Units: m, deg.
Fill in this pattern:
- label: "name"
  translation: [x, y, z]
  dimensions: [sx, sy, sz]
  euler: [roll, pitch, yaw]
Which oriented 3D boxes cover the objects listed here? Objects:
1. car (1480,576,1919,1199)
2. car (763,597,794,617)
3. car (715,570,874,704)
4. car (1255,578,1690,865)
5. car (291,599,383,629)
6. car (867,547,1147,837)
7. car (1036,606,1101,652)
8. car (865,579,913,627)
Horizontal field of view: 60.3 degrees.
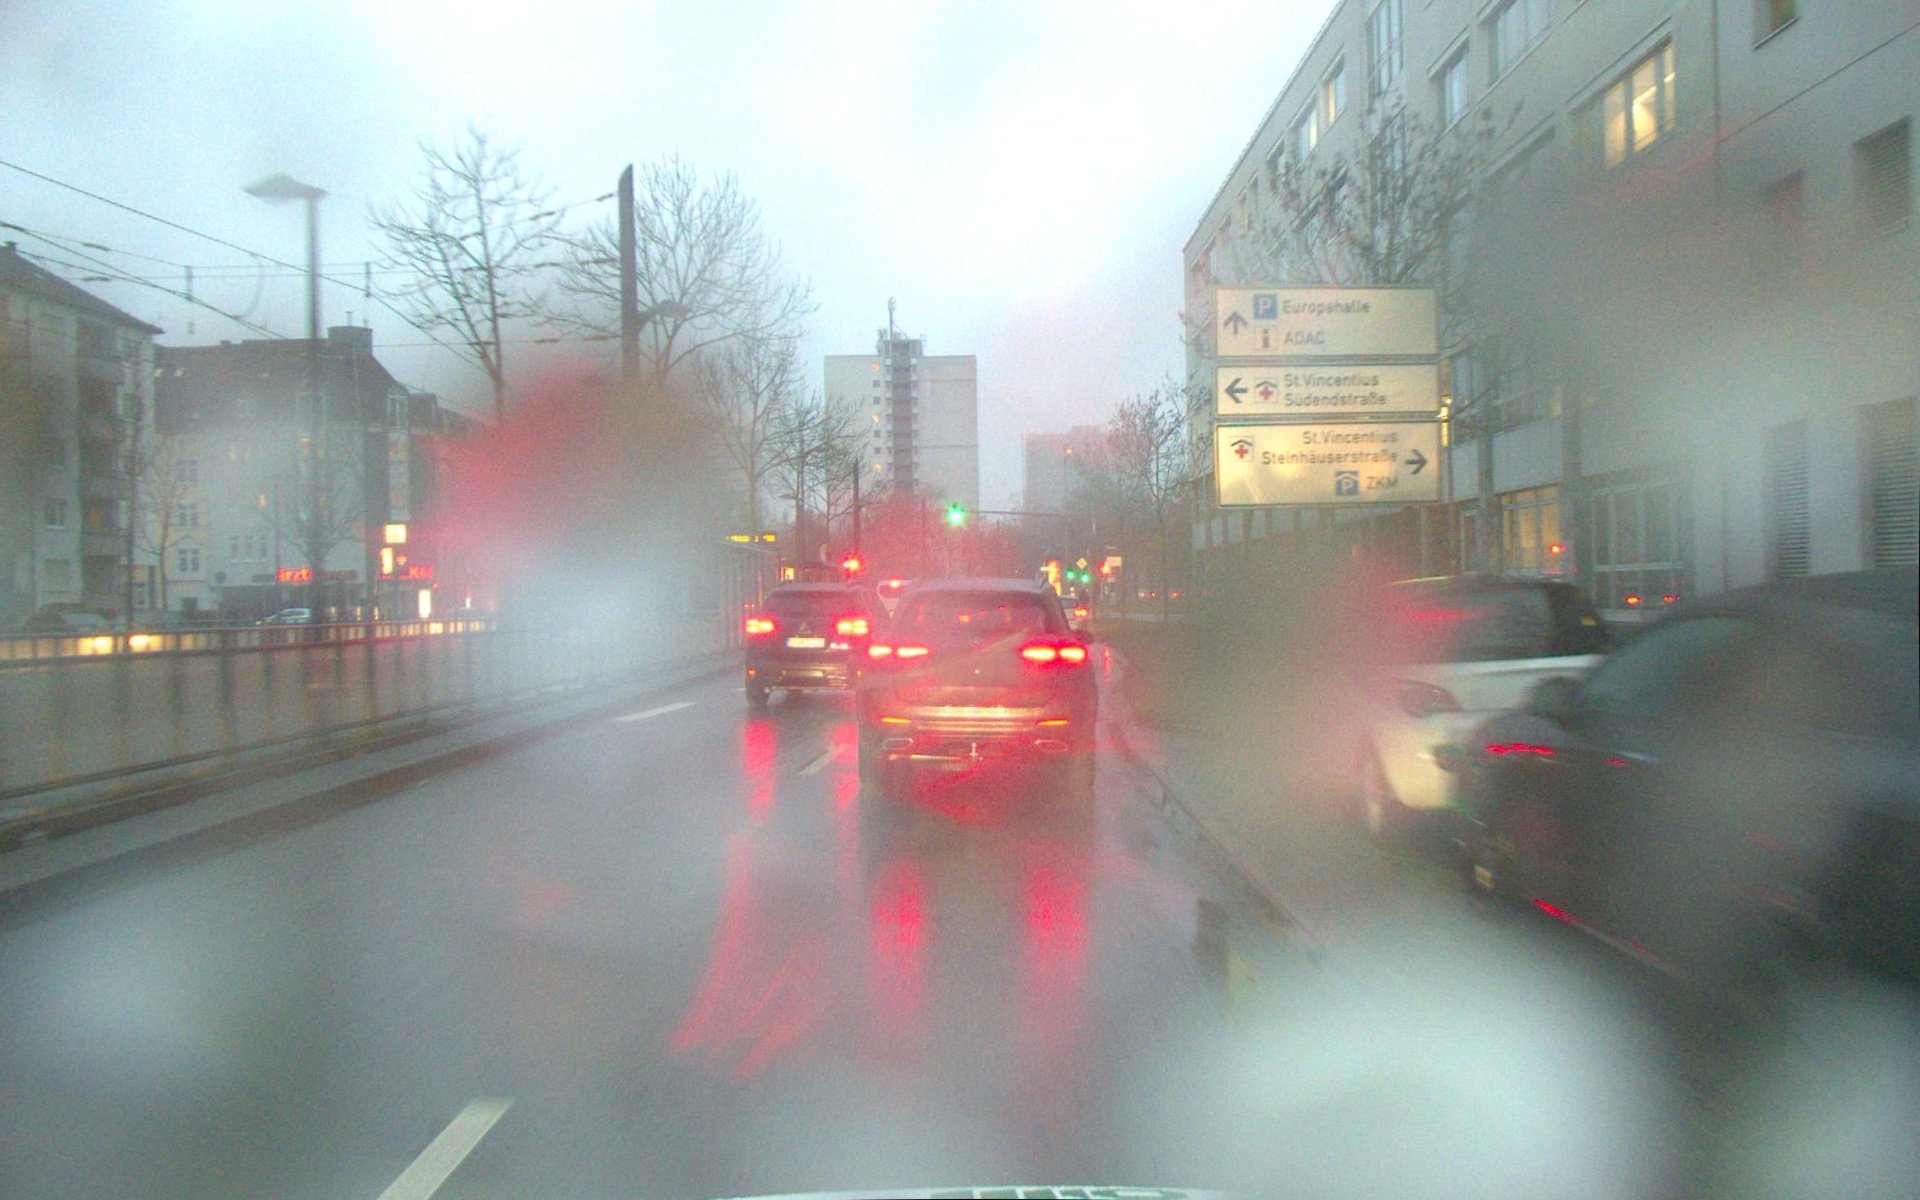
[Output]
- label: "car"
  translation: [3.126, 0.647, 5.355]
  dimensions: [1.717, 1.427, 4.251]
  euler: [0, 1, 3]
- label: "car"
  translation: [-14.095, 0.531, 128.578]
  dimensions: [1.722, 1.523, 3.760]
  euler: [0, -1, 3]
- label: "car"
  translation: [-2.279, 0.520, 23.793]
  dimensions: [1.953, 1.742, 4.323]
  euler: [0, -1, -2]
- label: "car"
  translation: [2.987, 0.616, 10.363]
  dimensions: [1.559, 1.418, 3.486]
  euler: [-3, 1, -1]
- label: "car"
  translation: [-29.495, 0.683, 78.319]
  dimensions: [3.724, 1.390, 1.696]
  euler: [0, -1, -5]
- label: "car"
  translation: [0.233, 0.670, 13.552]
  dimensions: [1.954, 2.010, 4.065]
  euler: [0, -1, -3]
- label: "car"
  translation: [3.481, 0.902, 53.611]
  dimensions: [1.848, 1.377, 4.101]
  euler: [0, 1, 0]
- label: "car"
  translation: [-3.171, 0.134, 74.413]
  dimensions: [1.912, 2.069, 4.883]
  euler: [0, 0, 0]
